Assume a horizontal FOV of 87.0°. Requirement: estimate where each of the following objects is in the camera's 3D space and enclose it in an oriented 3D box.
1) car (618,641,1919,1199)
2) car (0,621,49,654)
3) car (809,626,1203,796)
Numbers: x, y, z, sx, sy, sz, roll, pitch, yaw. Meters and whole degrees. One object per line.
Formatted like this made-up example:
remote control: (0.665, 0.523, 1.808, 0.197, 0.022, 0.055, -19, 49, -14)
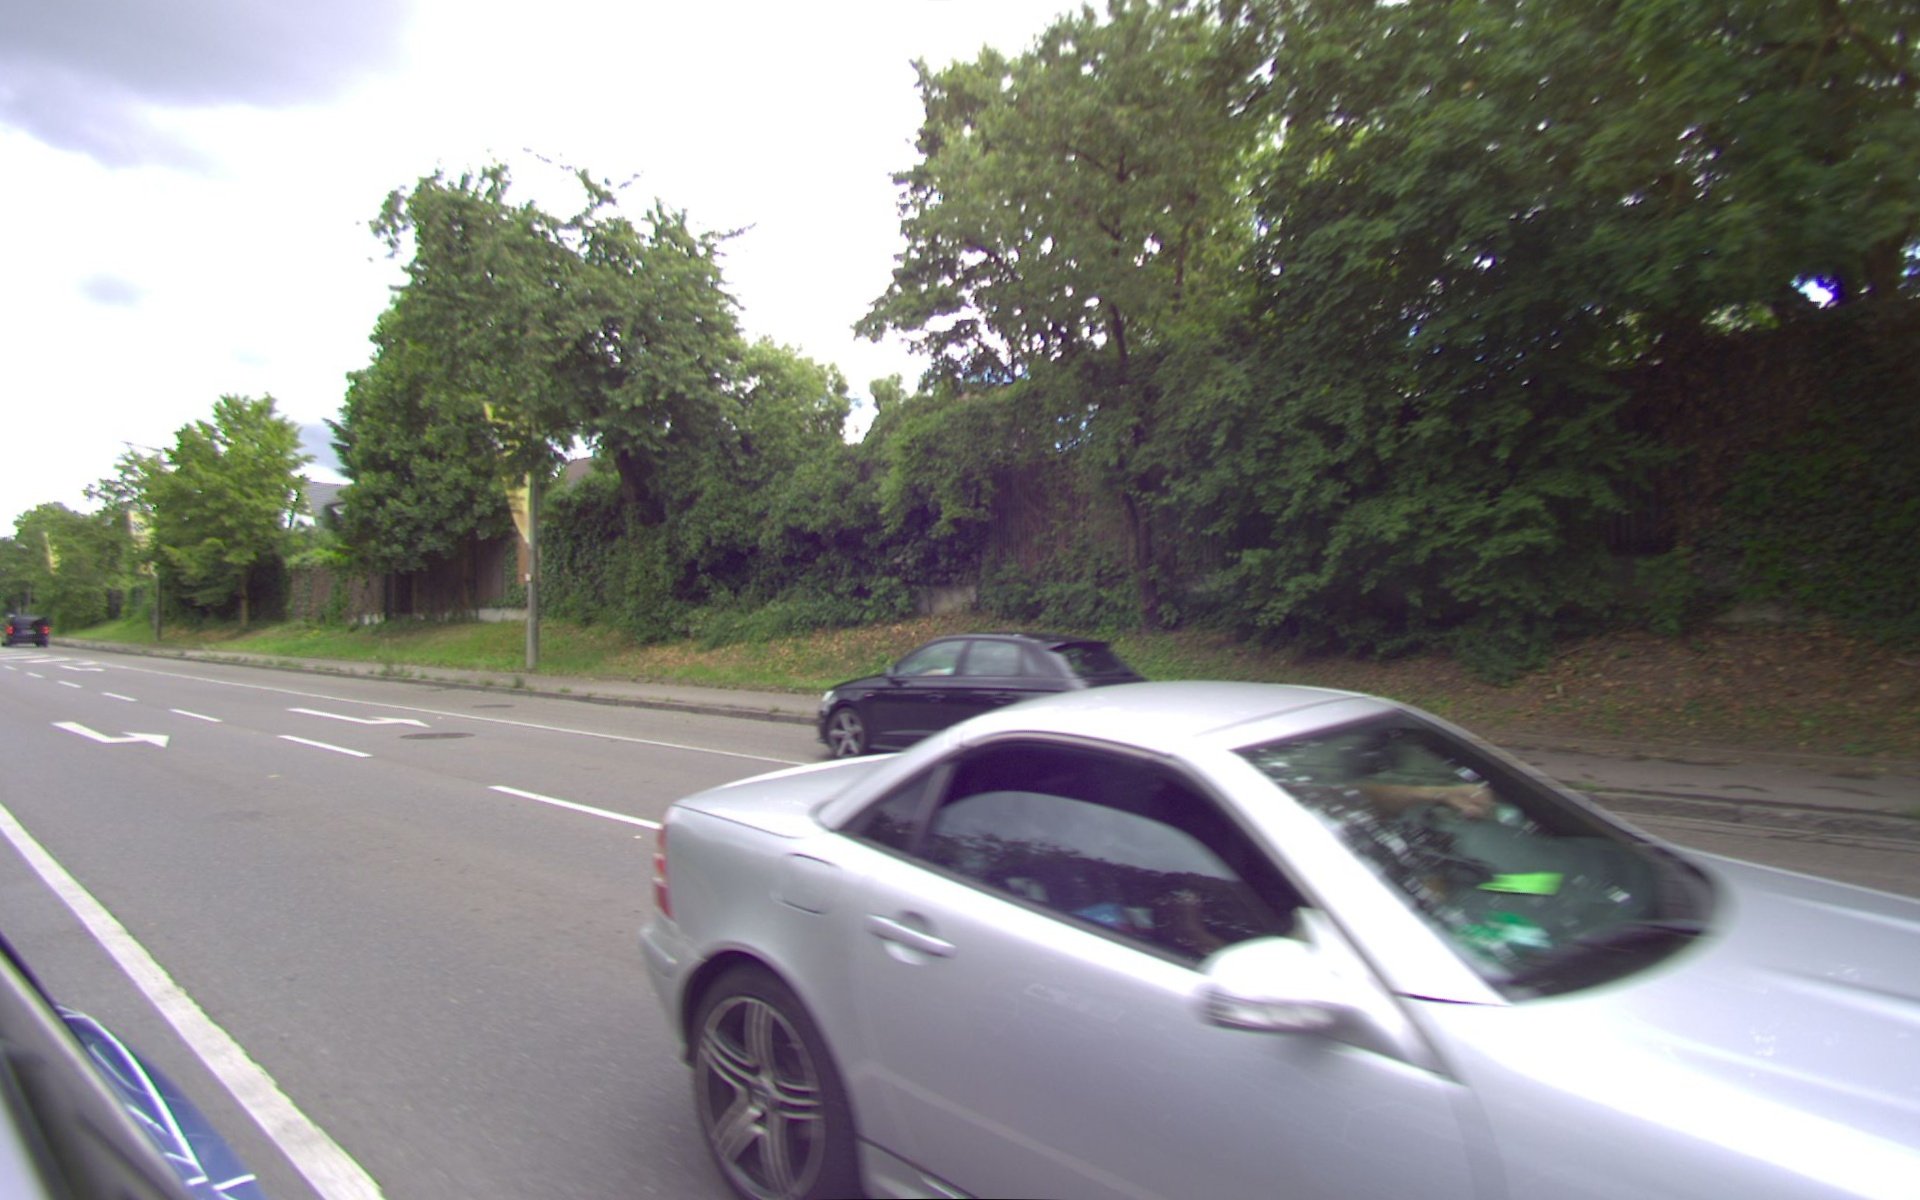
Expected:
car: (1.030, 0.773, 2.123, 3.819, 1.276, 1.539, -1, -1, 40)
car: (-55.726, 2.222, 60.116, 4.686, 1.919, 1.785, -1, -3, 41)
car: (0.337, 0.983, 10.271, 3.830, 1.406, 1.613, -2, -2, 41)
